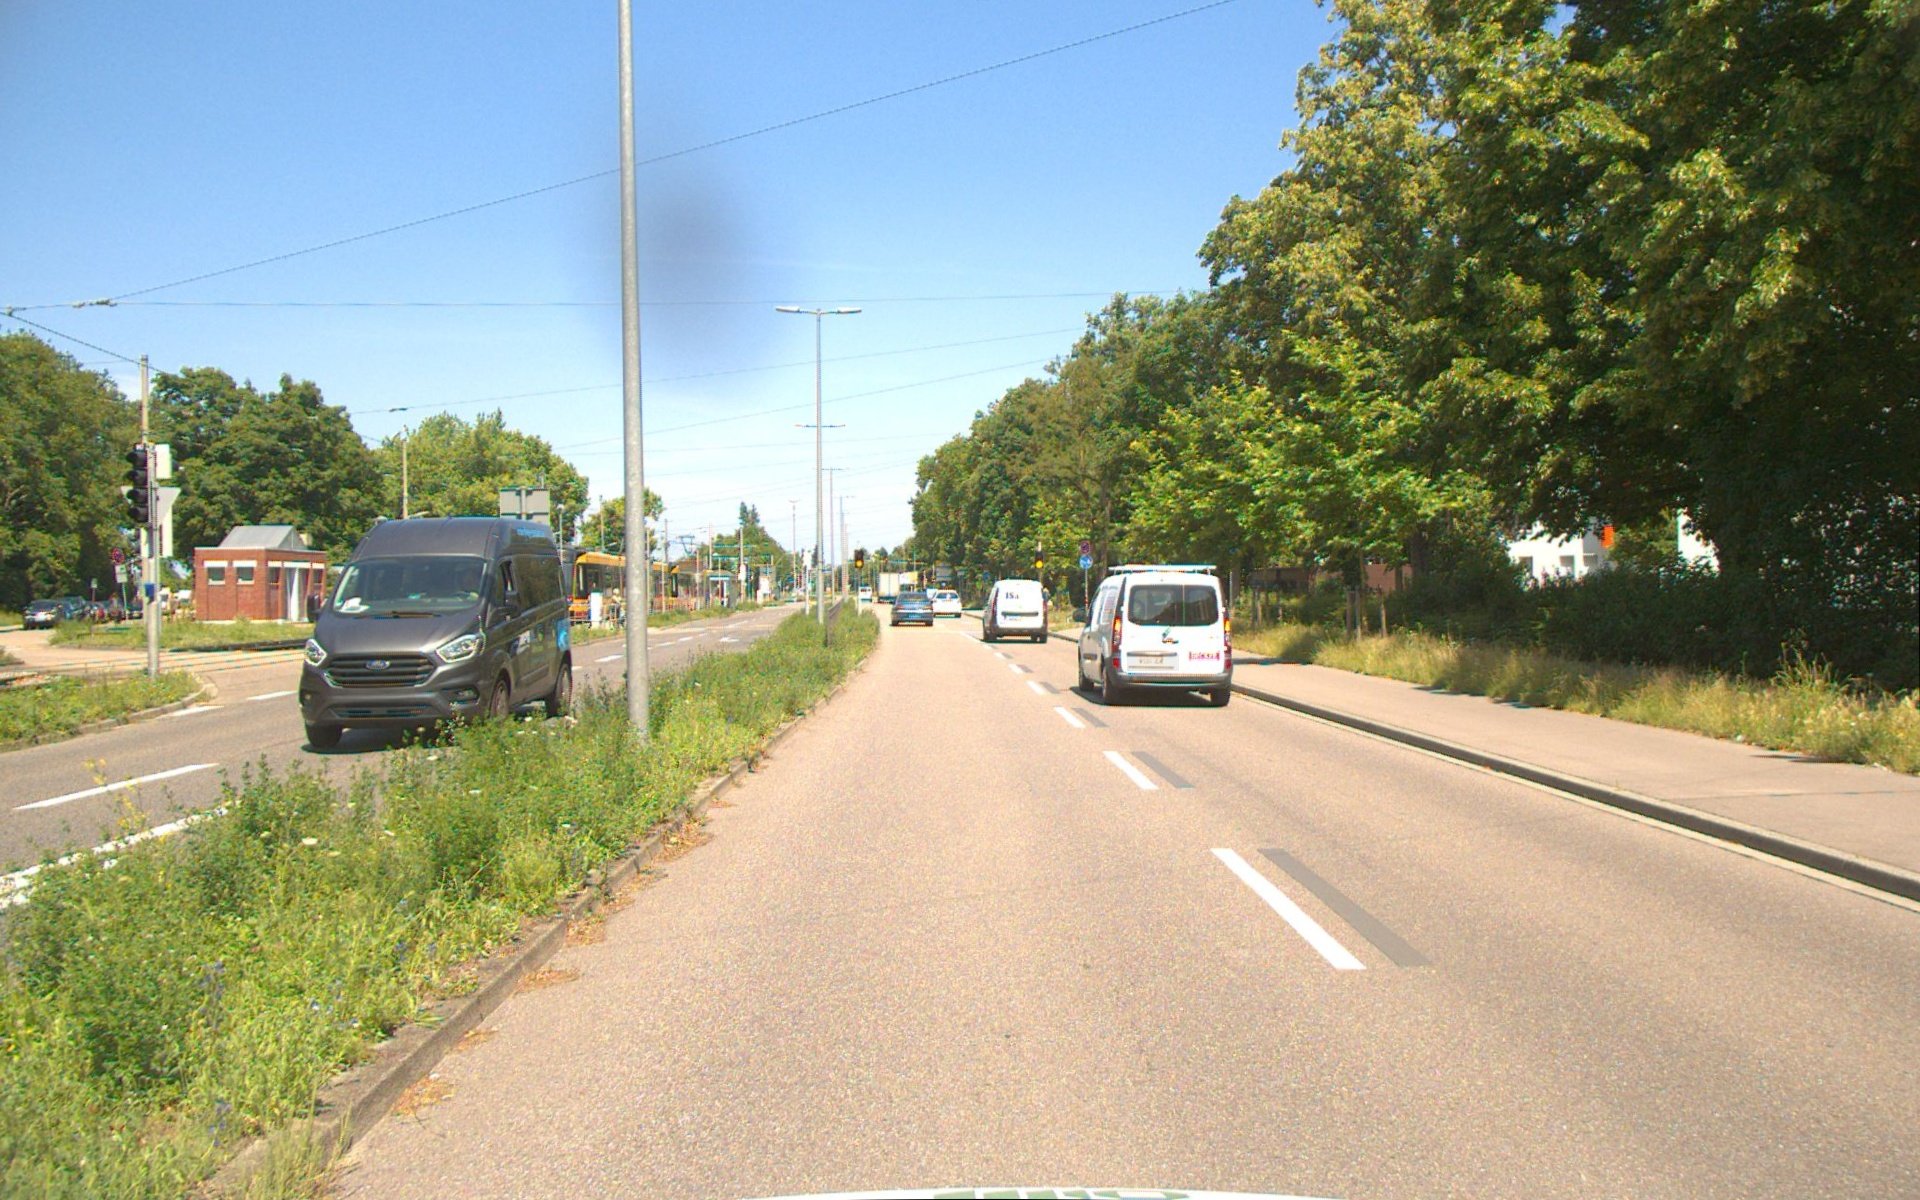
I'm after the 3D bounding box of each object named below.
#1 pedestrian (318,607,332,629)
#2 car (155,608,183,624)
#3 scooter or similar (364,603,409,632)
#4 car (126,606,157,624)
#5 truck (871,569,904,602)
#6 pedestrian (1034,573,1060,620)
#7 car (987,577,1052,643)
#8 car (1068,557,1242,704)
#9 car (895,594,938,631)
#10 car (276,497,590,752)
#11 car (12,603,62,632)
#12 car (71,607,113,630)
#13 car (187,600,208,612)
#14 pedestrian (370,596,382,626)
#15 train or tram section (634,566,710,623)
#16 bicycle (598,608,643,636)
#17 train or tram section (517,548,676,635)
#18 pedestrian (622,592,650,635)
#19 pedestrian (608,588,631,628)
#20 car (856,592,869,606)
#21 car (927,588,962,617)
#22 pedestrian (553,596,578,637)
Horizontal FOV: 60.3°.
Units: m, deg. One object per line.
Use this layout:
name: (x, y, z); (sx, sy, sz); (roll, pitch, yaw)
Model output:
pedestrian: (-30.106, 0.845, 78.396); (0.472, 1.036, 0.522); (-1, 0, -2)
car: (-78.090, 1.561, 163.235); (1.963, 1.493, 3.980); (0, 0, -18)
scooter or similar: (-22.997, 0.686, 66.358); (0.601, 1.146, 1.664); (-1, 0, 40)
car: (-71.166, 1.286, 143.867); (1.965, 1.493, 3.975); (0, 0, -21)
truck: (-9.038, -1.777, 206.154); (3.822, 3.879, 10.784); (-1, 0, -4)
pedestrian: (3.545, -0.147, 67.419); (1.024, 1.882, 0.758); (0, -1, 8)
car: (1.723, 0.271, 48.895); (1.692, 1.845, 3.999); (1, 0, -1)
car: (2.720, 0.403, 24.011); (1.788, 1.915, 4.453); (1, 0, -3)
car: (-1.861, 0.525, 69.858); (1.765, 1.512, 3.998); (0, 0, -3)
car: (-5.684, 0.223, 18.652); (1.953, 2.407, 5.370); (-2, 0, -2)
car: (-49.404, 0.925, 88.610); (1.967, 1.493, 3.970); (0, 0, -24)
car: (-57.608, 1.203, 109.769); (1.965, 1.493, 3.975); (0, 0, -21)
car: (-95.270, 0.725, 206.661); (1.963, 1.493, 3.980); (0, 0, -18)
pedestrian: (-28.998, 0.555, 82.178); (0.452, 1.461, 0.524); (0, 0, -6)
train or tram section: (-20.813, -0.338, 121.252); (2.732, 3.732, 25.978); (0, 0, -4)
bicycle: (-14.152, 0.916, 68.903); (1.824, 1.177, 0.242); (0, 0, 1)
train or tram section: (-18.782, -0.363, 89.568); (2.732, 3.732, 37.488); (0, 0, -4)
pedestrian: (-13.892, 0.594, 70.840); (0.939, 1.828, 0.705); (0, 0, 25)
pedestrian: (-14.215, 0.352, 69.011); (0.802, 1.657, 0.705); (0, 0, 2)
car: (-13.077, -0.115, 222.397); (1.654, 1.930, 3.867); (-1, 0, -4)
car: (-0.919, 0.146, 94.319); (1.768, 1.567, 3.996); (0, 0, -4)
pedestrian: (-15.299, 0.636, 64.097); (0.853, 1.568, 0.535); (-1, 0, 42)
